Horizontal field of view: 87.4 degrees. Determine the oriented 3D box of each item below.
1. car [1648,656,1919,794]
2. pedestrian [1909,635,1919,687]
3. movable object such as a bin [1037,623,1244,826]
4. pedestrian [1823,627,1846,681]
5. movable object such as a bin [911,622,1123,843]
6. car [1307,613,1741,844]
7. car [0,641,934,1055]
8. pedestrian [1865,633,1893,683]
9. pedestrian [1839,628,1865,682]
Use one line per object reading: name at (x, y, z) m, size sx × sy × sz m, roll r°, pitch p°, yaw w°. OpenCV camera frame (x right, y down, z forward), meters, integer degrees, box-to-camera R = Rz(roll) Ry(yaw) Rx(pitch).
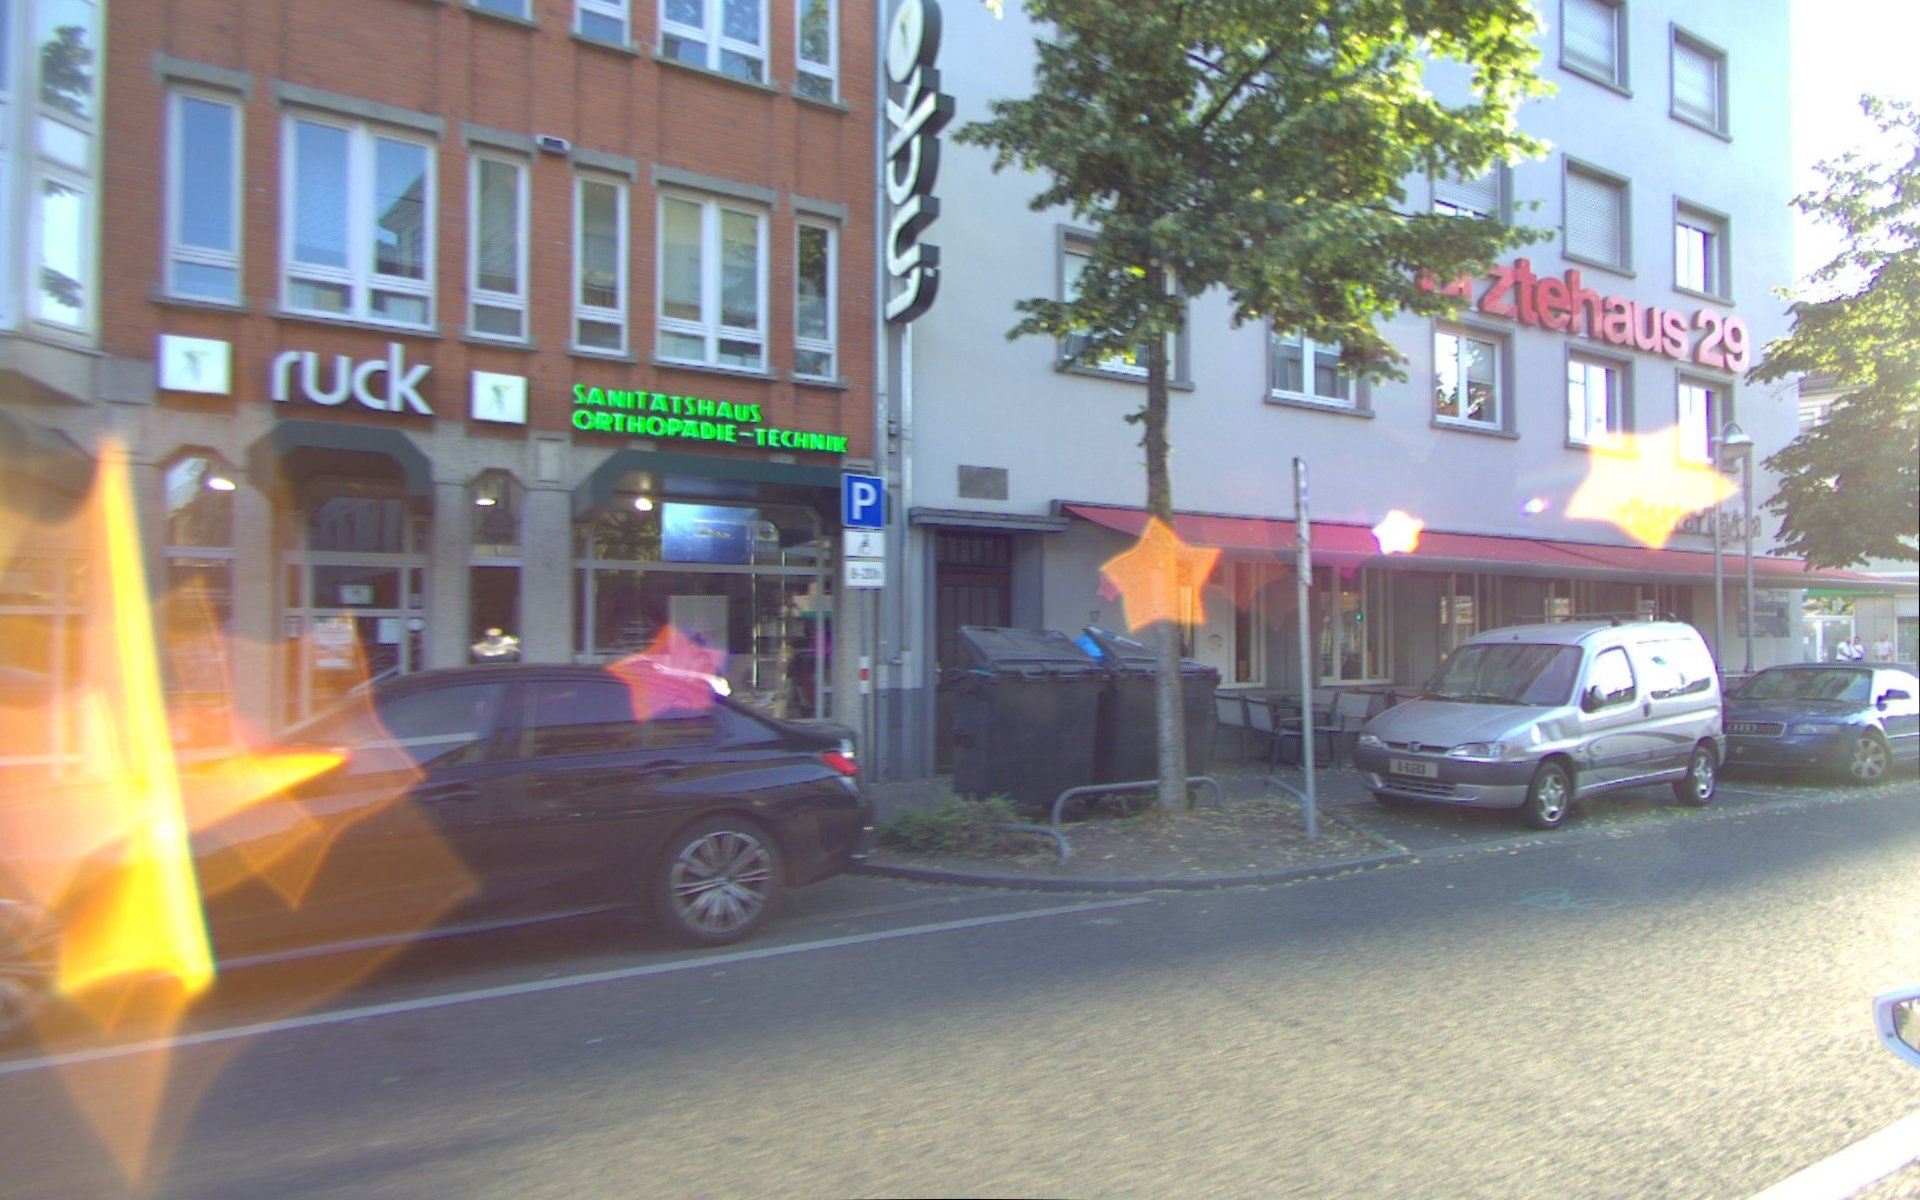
car at (10.794, 1.420, 12.508) m, size 4.328 × 1.404 × 1.907 m, roll 1°, pitch -3°, yaw -29°
pedestrian at (33.748, 2.126, 35.200) m, size 0.638 × 1.802 × 0.669 m, roll -2°, pitch -3°, yaw 41°
movable object such as a bin at (1.696, 1.100, 9.558) m, size 1.424 × 1.695 × 1.275 m, roll 1°, pitch 1°, yaw -30°
pedestrian at (32.152, 1.984, 36.932) m, size 0.487 × 1.954 × 0.575 m, roll -1°, pitch -2°, yaw 28°
movable object such as a bin at (0.478, 1.072, 8.836) m, size 1.353 × 1.695 × 1.274 m, roll 1°, pitch 1°, yaw -30°
car at (5.544, 1.086, 9.784) m, size 4.101 × 1.810 × 1.905 m, roll 1°, pitch -3°, yaw -32°
car at (-2.600, 1.013, 5.435) m, size 4.582 × 1.530 × 1.907 m, roll 1°, pitch -3°, yaw -29°
pedestrian at (33.096, 2.082, 36.184) m, size 0.689 × 1.768 × 0.637 m, roll -2°, pitch -3°, yaw 41°
pedestrian at (32.719, 2.015, 36.850) m, size 0.520 × 1.954 × 0.639 m, roll -1°, pitch -2°, yaw 27°
